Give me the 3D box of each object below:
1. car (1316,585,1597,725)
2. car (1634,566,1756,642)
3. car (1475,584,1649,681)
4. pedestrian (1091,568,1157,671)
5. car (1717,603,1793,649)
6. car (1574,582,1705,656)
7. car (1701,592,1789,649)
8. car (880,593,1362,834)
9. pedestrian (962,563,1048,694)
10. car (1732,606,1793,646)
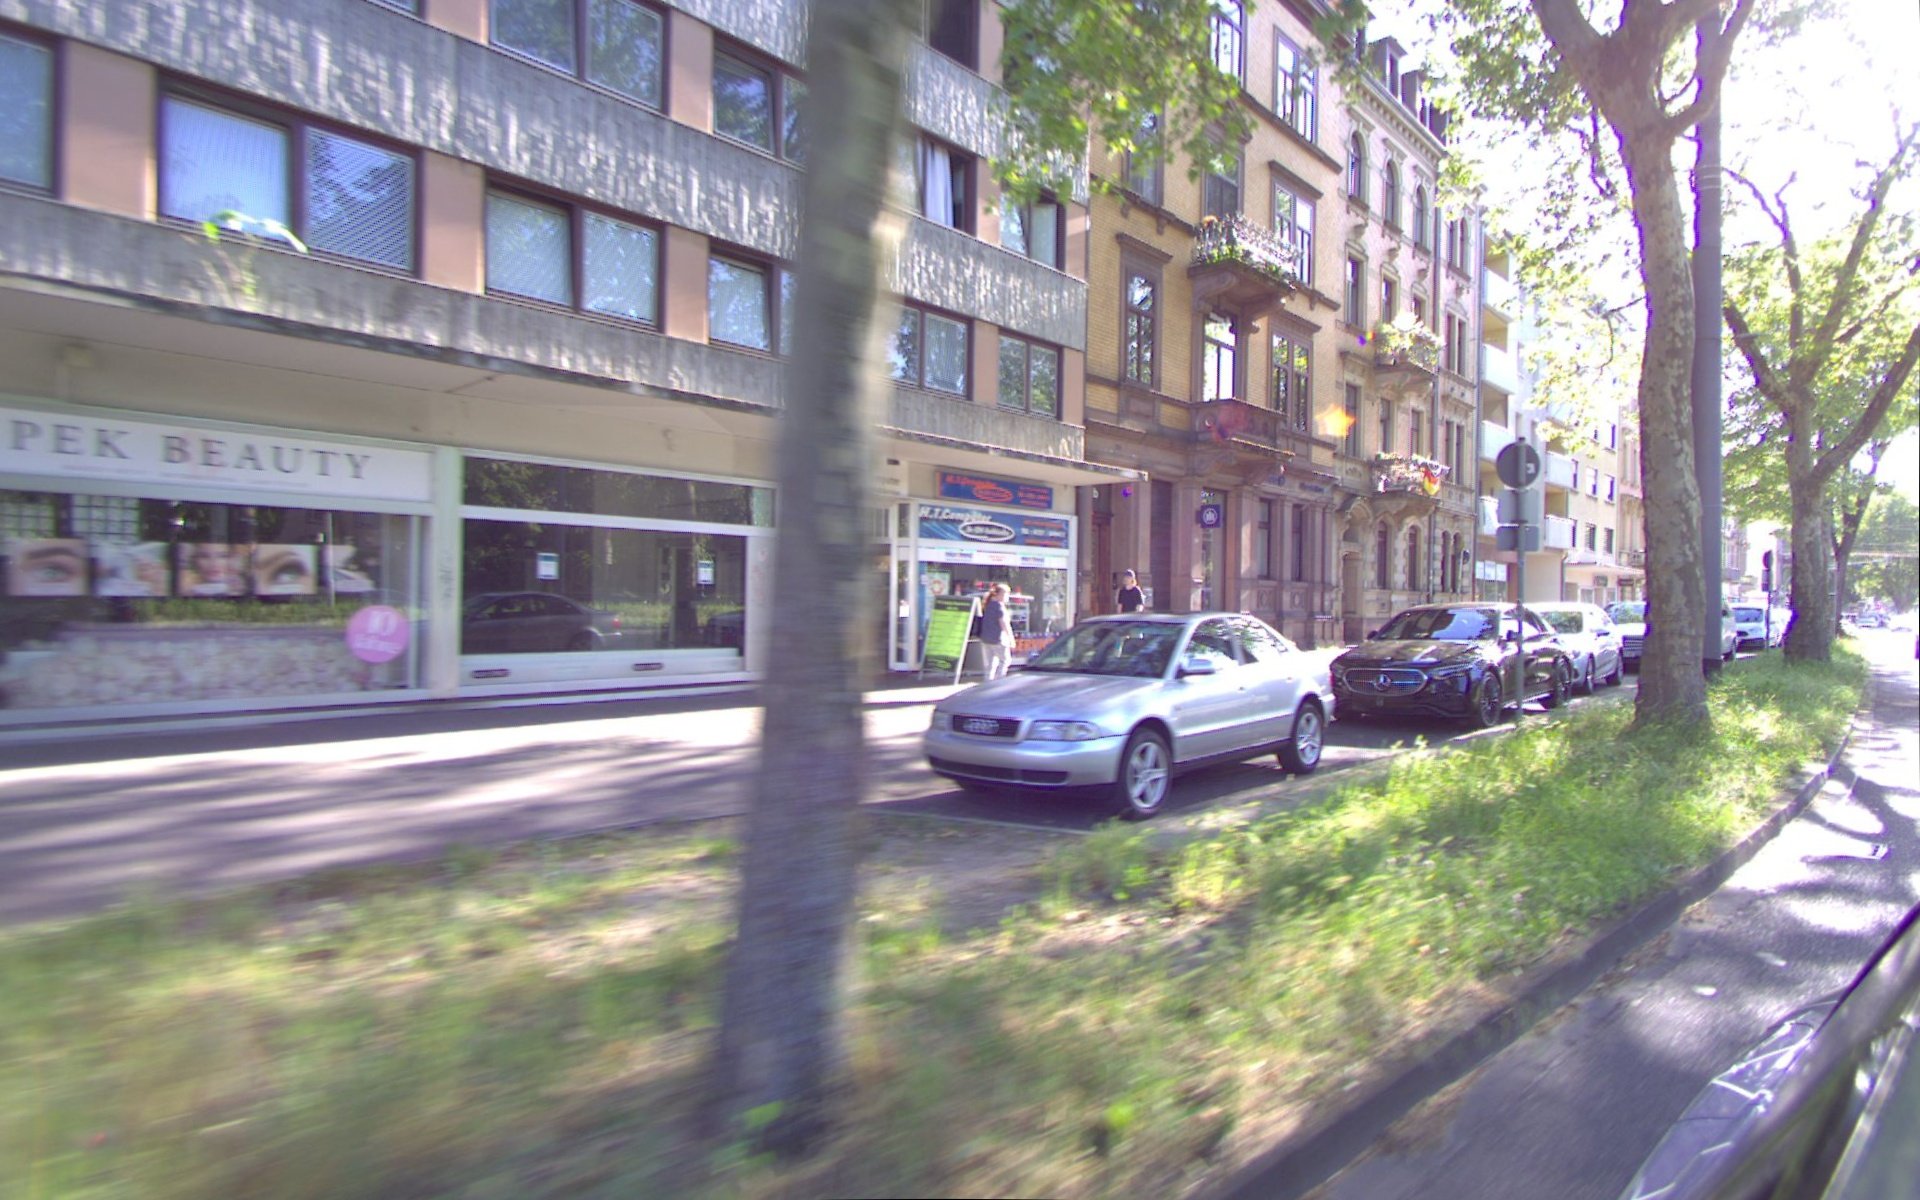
[{"bbox_3d":[6.655,0.609,13.273,4.839,1.509,1.806,0,-1,-45],"label":"car"},{"bbox_3d":[19.526,0.152,26.819,4.721,1.839,1.865,1,-2,-45],"label":"car"},{"bbox_3d":[10.711,0.518,17.851,1.676,1.485,4.597,-2,-1,43],"label":"car"},{"bbox_3d":[3.060,0.352,18.923,0.703,1.863,1.000,1,0,-43],"label":"pedestrian"},{"bbox_3d":[27.692,0.897,35.202,3.724,1.505,1.562,1,-2,-44],"label":"car"},{"bbox_3d":[15.487,0.422,22.968,1.704,1.522,4.288,-2,-2,44],"label":"car"},{"bbox_3d":[25.087,0.650,32.299,4.072,1.690,1.626,1,-2,-44],"label":"car"},{"bbox_3d":[1.556,0.725,8.293,1.700,1.442,4.445,-2,-2,43],"label":"car"},{"bbox_3d":[0.635,0.397,14.295,0.703,1.783,1.000,2,-2,-45],"label":"pedestrian"},{"bbox_3d":[31.458,1.017,39.622,1.624,1.496,3.641,-2,-2,42],"label":"car"}]
